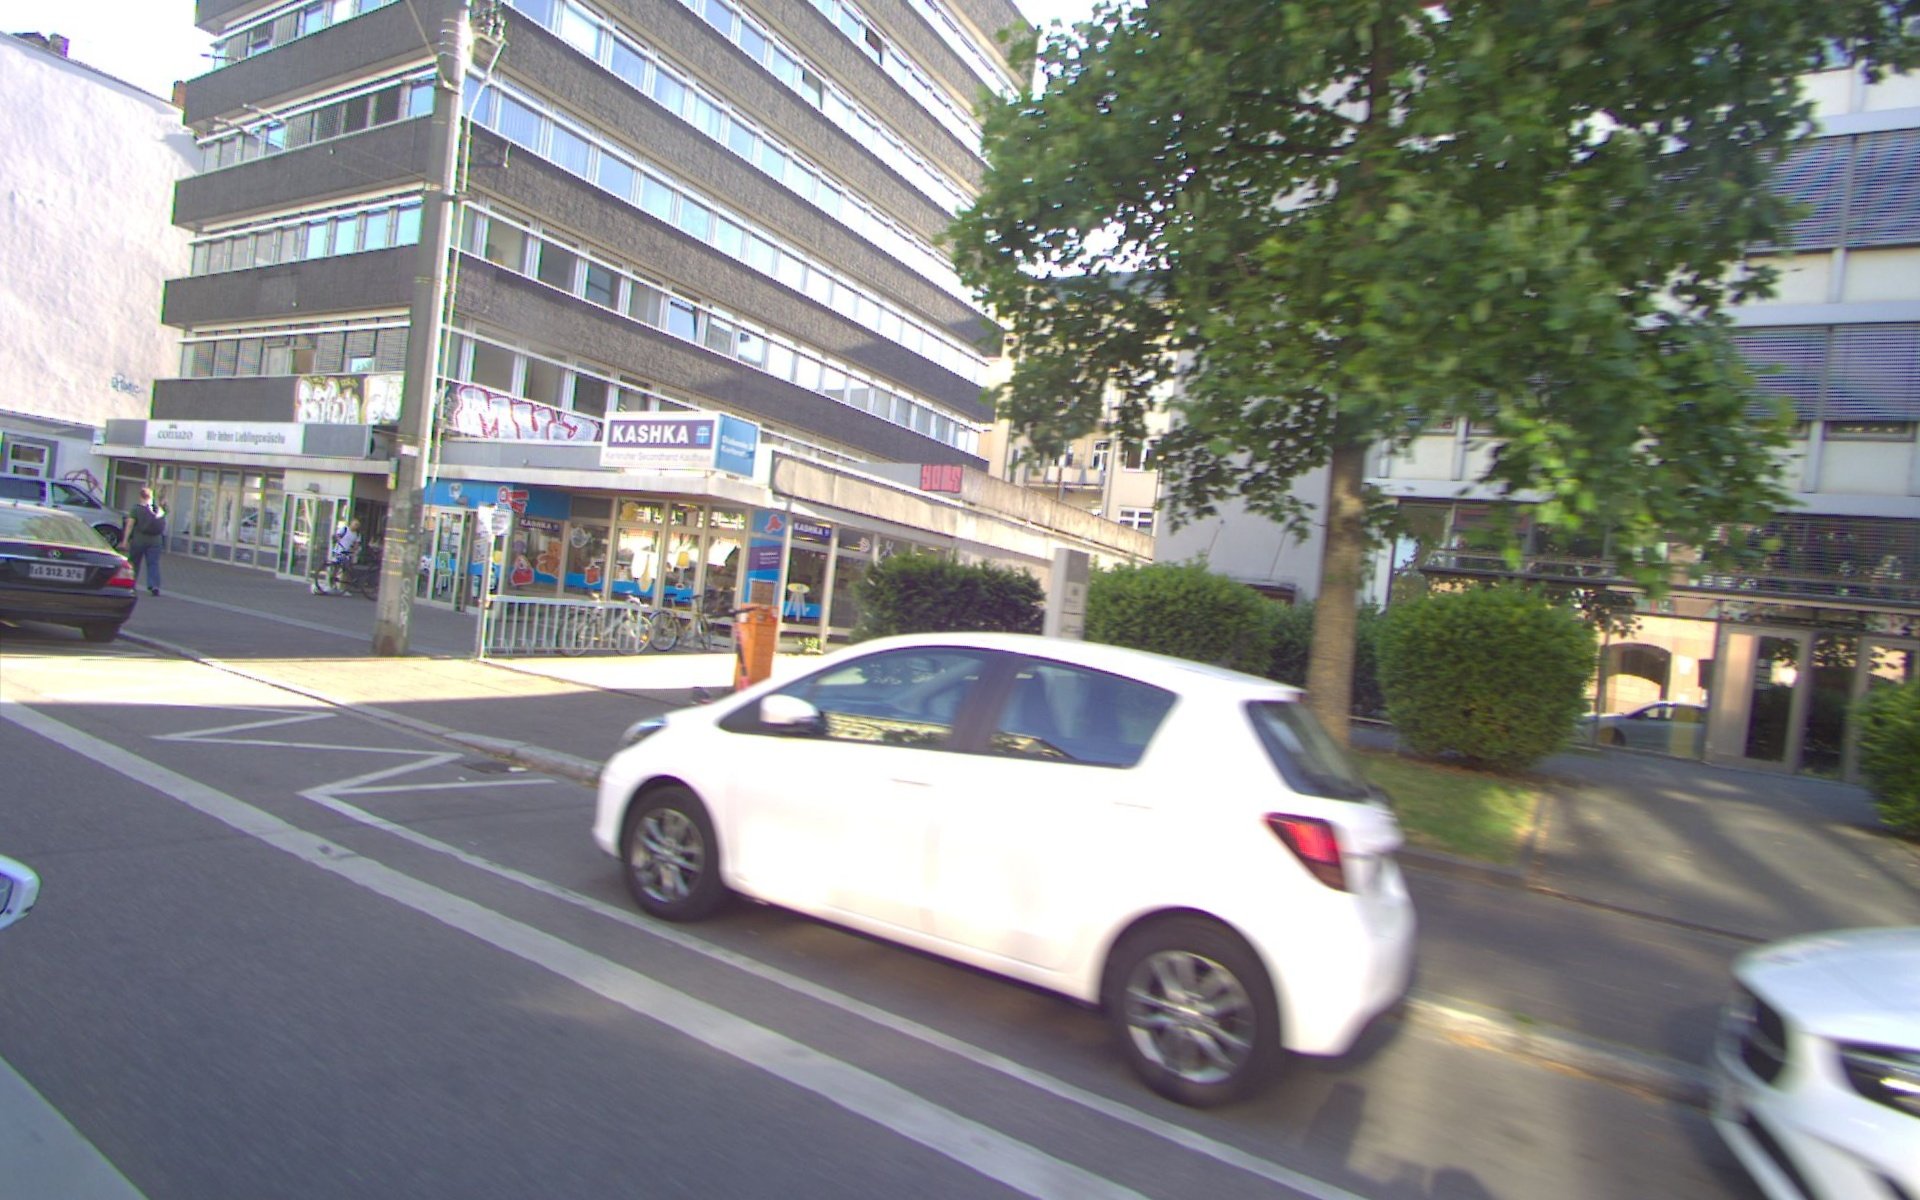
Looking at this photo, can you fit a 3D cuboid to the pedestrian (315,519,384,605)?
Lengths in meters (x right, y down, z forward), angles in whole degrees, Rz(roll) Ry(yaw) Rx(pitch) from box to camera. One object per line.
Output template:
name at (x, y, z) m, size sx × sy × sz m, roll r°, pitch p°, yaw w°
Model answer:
pedestrian at (-13.644, -0.846, 22.474) m, size 1.146 × 1.751 × 1.034 m, roll 6°, pitch 2°, yaw -34°

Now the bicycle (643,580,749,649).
bicycle at (-4.850, 0.284, 18.668) m, size 0.581 × 1.139 × 2.204 m, roll 7°, pitch 1°, yaw 23°

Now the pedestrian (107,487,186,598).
pedestrian at (-14.415, -1.019, 17.824) m, size 0.874 × 1.835 × 0.722 m, roll 7°, pitch 1°, yaw 31°

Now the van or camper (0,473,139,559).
van or camper at (-26.956, -2.486, 29.050) m, size 1.956 × 2.165 × 4.640 m, roll 7°, pitch 2°, yaw 35°

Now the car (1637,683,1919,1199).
car at (4.129, 1.286, 1.986) m, size 4.367 × 1.588 × 1.545 m, roll 7°, pitch -1°, yaw 30°

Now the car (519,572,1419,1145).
car at (-0.050, 0.859, 4.758) m, size 3.818 × 1.460 × 1.606 m, roll 6°, pitch -2°, yaw 29°

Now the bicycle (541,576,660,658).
bicycle at (-5.682, 0.288, 15.977) m, size 0.569 × 1.155 × 1.681 m, roll 7°, pitch 0°, yaw 35°

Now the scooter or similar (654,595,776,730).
scooter or similar at (-2.632, 0.628, 10.752) m, size 1.339 × 1.252 × 0.536 m, roll 7°, pitch 6°, yaw 40°

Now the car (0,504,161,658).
car at (-11.198, -0.383, 11.491) m, size 4.474 × 1.474 × 1.714 m, roll 6°, pitch -1°, yaw 31°

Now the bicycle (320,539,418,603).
bicycle at (-12.967, -0.604, 22.171) m, size 0.790 × 1.234 × 2.181 m, roll 7°, pitch 0°, yaw -1°
